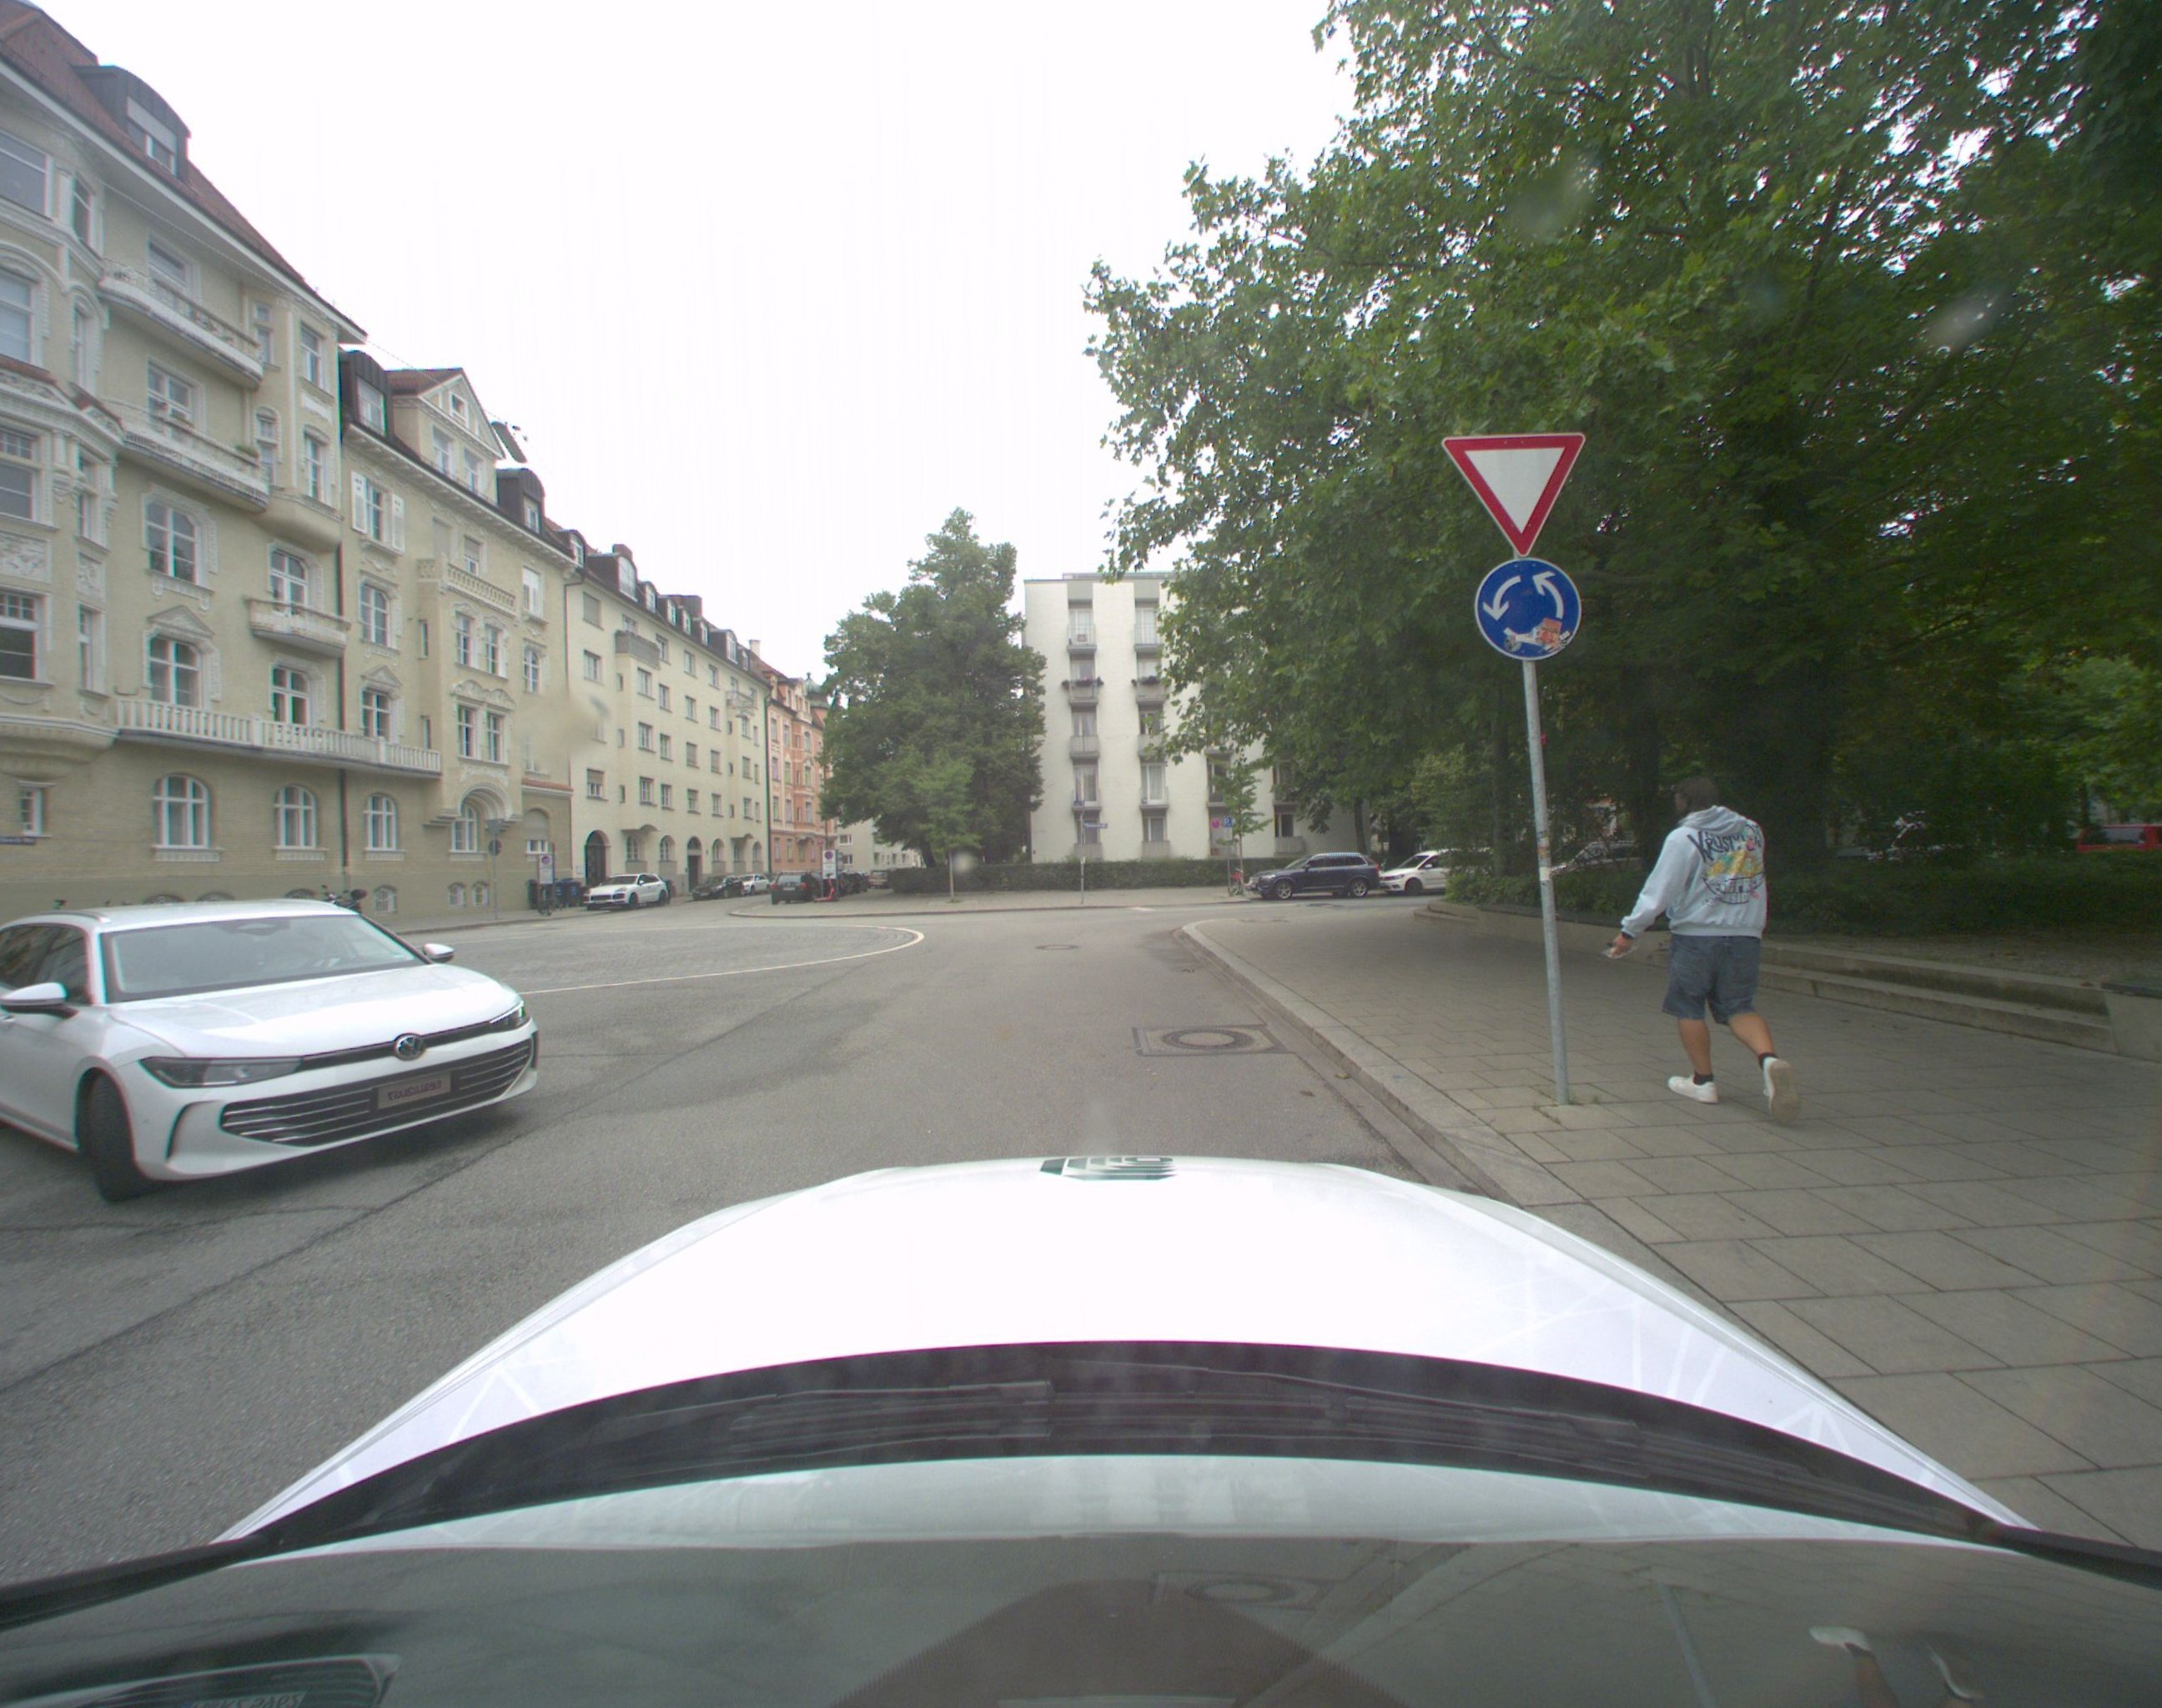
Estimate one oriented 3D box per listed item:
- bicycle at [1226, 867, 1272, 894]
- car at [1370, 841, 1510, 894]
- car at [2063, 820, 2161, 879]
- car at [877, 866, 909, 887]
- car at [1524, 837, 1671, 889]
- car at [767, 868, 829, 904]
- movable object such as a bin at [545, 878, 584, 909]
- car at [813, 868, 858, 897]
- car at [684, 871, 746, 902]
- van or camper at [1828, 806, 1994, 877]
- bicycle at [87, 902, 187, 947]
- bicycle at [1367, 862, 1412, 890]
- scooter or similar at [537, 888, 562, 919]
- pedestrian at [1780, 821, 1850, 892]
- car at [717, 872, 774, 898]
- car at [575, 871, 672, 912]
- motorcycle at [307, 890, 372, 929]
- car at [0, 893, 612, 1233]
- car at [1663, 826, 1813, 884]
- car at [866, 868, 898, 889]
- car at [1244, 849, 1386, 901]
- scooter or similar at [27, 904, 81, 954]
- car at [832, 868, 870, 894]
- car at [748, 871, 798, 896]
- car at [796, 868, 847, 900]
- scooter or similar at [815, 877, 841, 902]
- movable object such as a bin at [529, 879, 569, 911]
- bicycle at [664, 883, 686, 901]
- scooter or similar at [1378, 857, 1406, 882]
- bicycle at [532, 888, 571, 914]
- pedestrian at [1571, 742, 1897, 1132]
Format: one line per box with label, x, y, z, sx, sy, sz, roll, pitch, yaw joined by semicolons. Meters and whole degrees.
bicycle;6.980;1.104;33.867;1.827;1.049;0.489;-2;-1;-14
car;14.204;0.542;32.358;4.830;1.918;1.830;-2;-2;-8
car;35.485;-0.160;26.762;4.699;1.839;1.990;-1;-2;-10
car;-16.050;1.873;69.680;1.830;1.634;4.113;-3;0;-1
car;21.102;0.364;33.336;5.194;1.933;1.886;-1;-2;-12
car;-13.278;1.464;38.497;1.817;1.505;4.411;-3;0;-7
movable object such as a bin;-25.187;1.921;39.742;1.087;1.425;1.173;-2;-1;-1
car;-14.471;1.645;48.257;1.792;1.505;4.105;-3;0;-7
car;-21.850;1.901;48.844;1.973;1.616;4.703;-1;-1;-5
van or camper;36.729;-0.540;36.080;5.990;2.945;2.000;-1;-2;-10
bicycle;-25.133;1.861;21.730;0.561;1.049;1.828;-2;0;-3
bicycle;12.998;0.913;34.390;0.539;1.149;1.813;-2;-1;-29
scooter or similar;-21.581;1.995;33.075;1.199;1.193;0.470;-2;-1;37
pedestrian;19.624;0.067;21.786;1.048;1.831;0.874;-2;-1;-8
car;-22.062;2.004;53.718;1.970;1.581;4.406;-1;-1;-1
car;-21.375;1.721;38.300;1.971;1.701;4.835;-1;-1;-3
motorcycle;-25.196;1.866;27.717;0.597;1.176;1.828;-2;0;-3
car;-5.731;1.060;5.579;4.830;1.448;1.901;-2;-1;25
car;27.933;0.039;34.685;5.225;2.273;1.946;-1;-2;-10
car;-15.880;1.956;65.073;1.832;1.505;4.107;-3;0;-5
car;9.001;0.801;31.545;4.892;1.792;1.995;-2;-2;-7
scooter or similar;-24.821;1.795;19.697;0.469;1.115;1.202;-1;-1;-35
car;-15.196;1.757;53.992;1.792;1.505;4.105;-3;0;-7
car;-22.187;2.093;58.881;1.969;1.581;4.406;-1;-1;-1
car;-13.847;1.556;43.718;1.792;1.505;4.224;-3;0;-7
scooter or similar;-11.152;1.560;35.857;1.005;1.088;0.387;-1;-1;-30
movable object such as a bin;-25.183;1.917;38.545;1.087;1.425;1.173;-2;-1;-1
bicycle;-26.225;2.464;52.613;0.561;1.049;1.828;-2;0;-3
scooter or similar;15.465;0.754;40.493;1.209;1.193;0.399;-1;-1;-4
bicycle;-23.265;2.044;35.839;0.561;1.049;1.828;-2;0;-3
pedestrian;3.312;0.392;4.280;0.869;1.771;1.054;-2;-1;8
